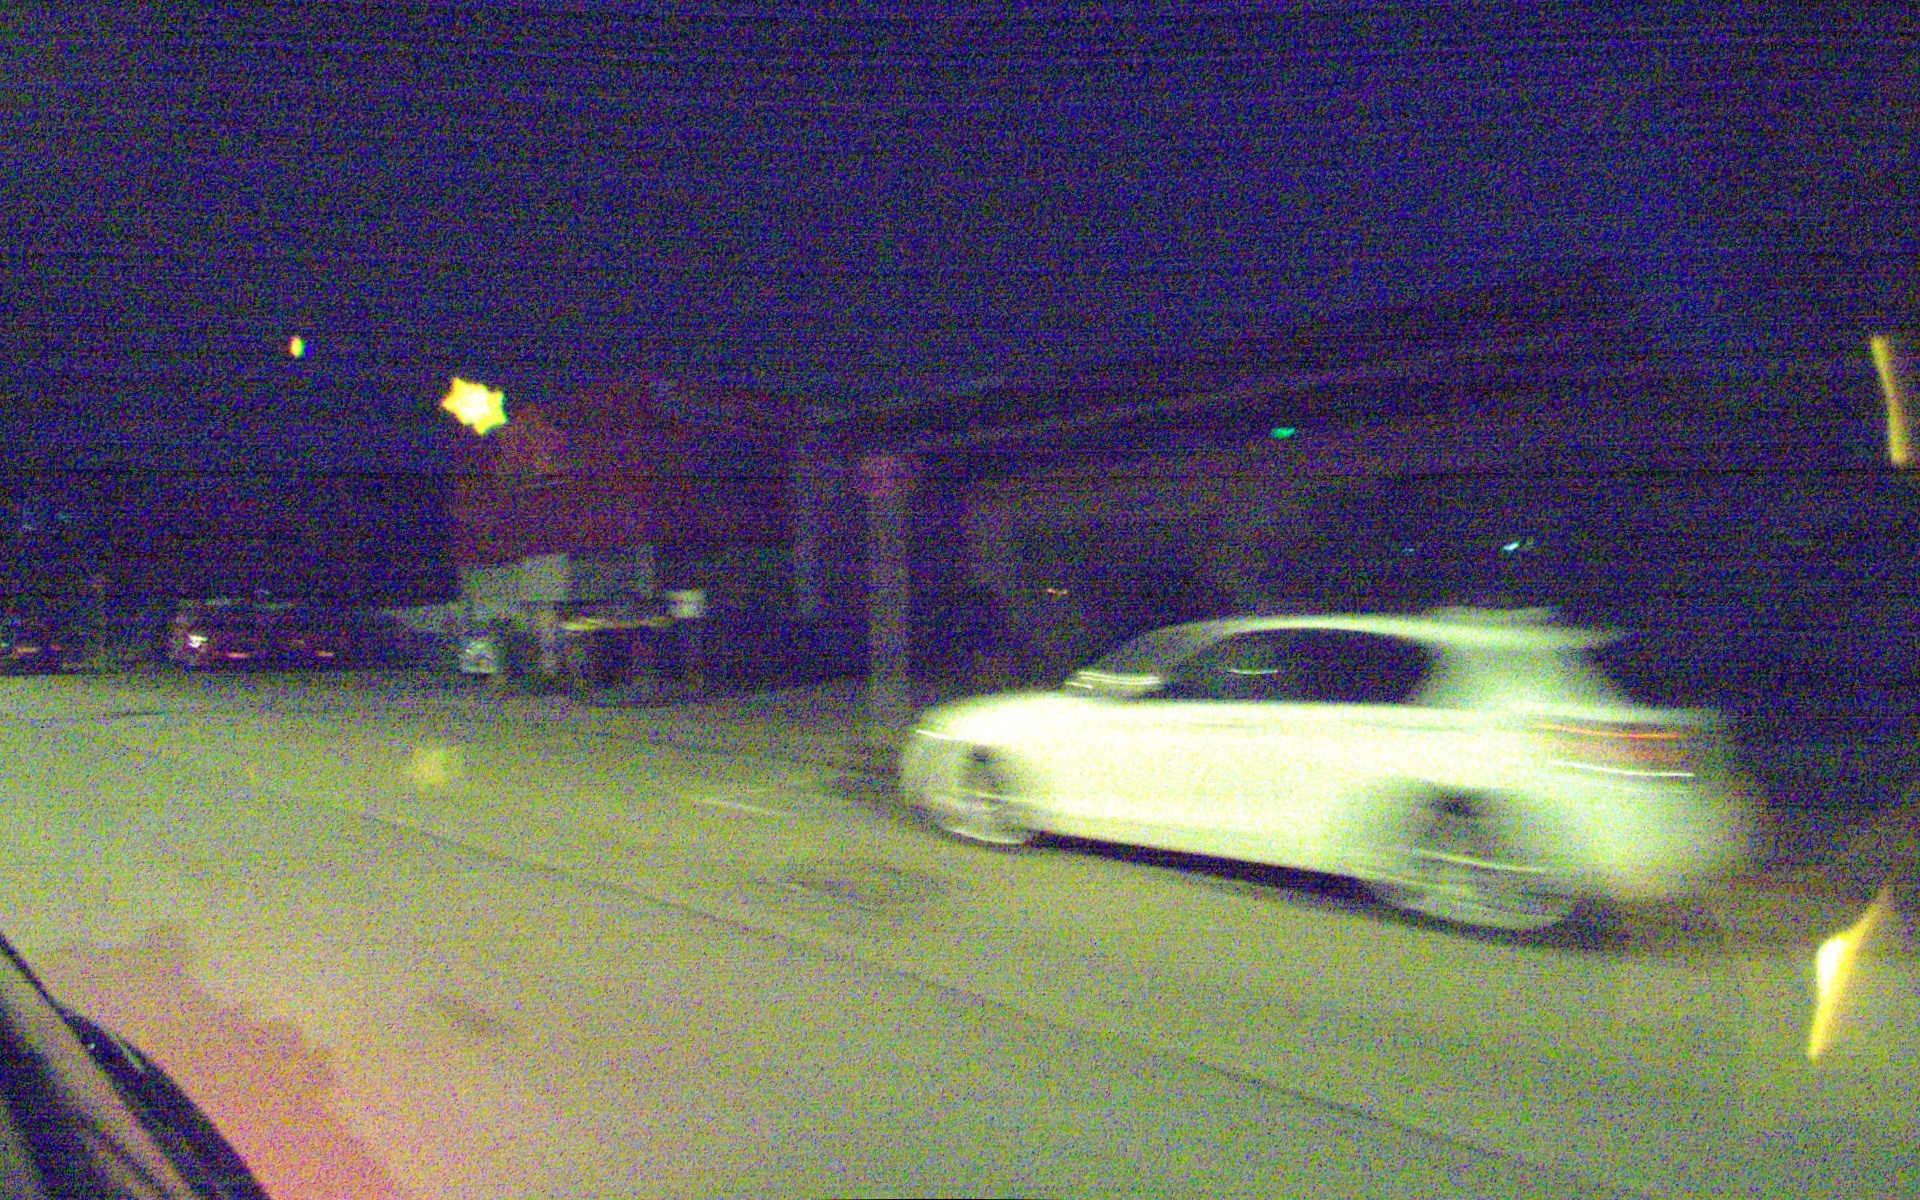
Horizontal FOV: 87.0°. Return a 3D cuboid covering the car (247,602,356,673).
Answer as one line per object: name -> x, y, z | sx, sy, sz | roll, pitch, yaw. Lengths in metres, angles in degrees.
car -> -23.235, 1.302, 35.667 | 4.624, 2.339, 2.183 | -2, -2, 43

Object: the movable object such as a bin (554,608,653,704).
movable object such as a bin -> -5.864, 0.896, 16.665 | 1.063, 1.507, 1.154 | -2, -2, 36

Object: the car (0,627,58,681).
car -> -28.971, 1.613, 30.923 | 4.323, 1.538, 1.736 | -2, -1, 43

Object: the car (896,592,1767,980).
car -> 1.846, 0.741, 5.838 | 4.334, 1.414, 1.892 | -2, -2, 40

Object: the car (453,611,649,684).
car -> -9.621, 1.084, 24.032 | 1.815, 1.583, 3.948 | -2, -2, 39

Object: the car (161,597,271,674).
car -> -24.419, 1.159, 33.160 | 4.966, 2.339, 1.971 | -2, -3, 43
